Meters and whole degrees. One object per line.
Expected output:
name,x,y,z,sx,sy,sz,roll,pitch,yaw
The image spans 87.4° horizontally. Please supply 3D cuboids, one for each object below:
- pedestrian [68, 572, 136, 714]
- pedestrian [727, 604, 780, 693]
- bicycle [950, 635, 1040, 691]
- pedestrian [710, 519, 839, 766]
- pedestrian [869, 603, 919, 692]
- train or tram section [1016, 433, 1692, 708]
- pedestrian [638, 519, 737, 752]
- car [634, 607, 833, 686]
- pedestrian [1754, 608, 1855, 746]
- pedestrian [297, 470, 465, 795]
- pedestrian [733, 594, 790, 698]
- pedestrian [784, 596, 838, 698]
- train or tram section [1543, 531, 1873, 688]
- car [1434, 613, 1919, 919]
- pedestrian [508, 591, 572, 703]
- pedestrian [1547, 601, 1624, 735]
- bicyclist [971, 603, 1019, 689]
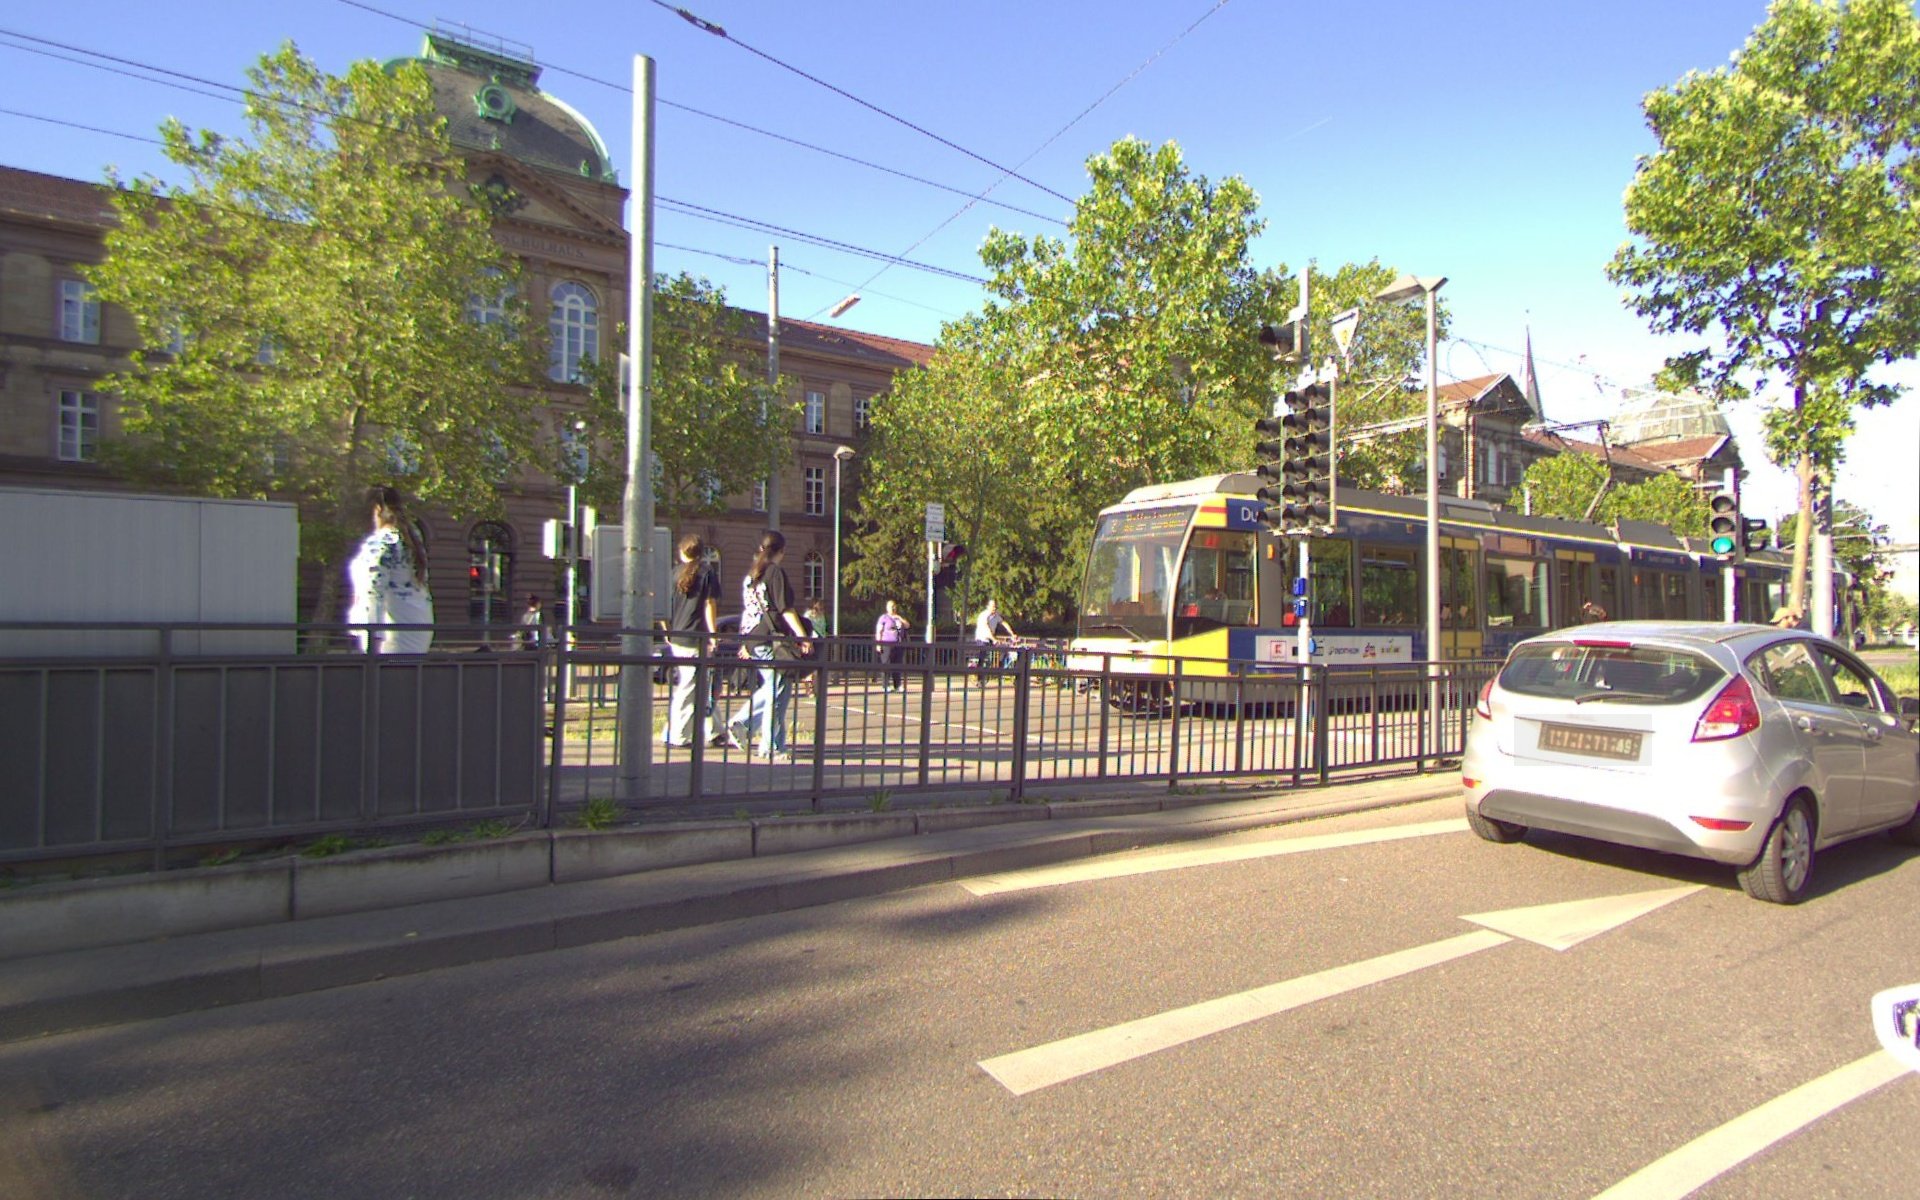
pedestrian,-10.859,0.539,12.728,0.538,1.751,0.522,1,-1,-30
pedestrian,-3.789,0.873,18.406,0.770,1.582,0.705,1,-1,-28
bicycle,0.682,1.223,19.793,0.830,0.999,1.649,2,-1,-44
pedestrian,-1.390,0.311,7.523,0.740,1.724,0.628,1,-2,-38
pedestrian,-1.215,0.874,18.542,0.699,1.603,0.613,1,-1,-38
train or tram section,8.094,-0.061,17.772,15.736,3.303,2.895,3,0,-35
pedestrian,-2.123,0.273,7.824,0.541,1.724,0.604,1,-2,-38
car,-5.390,1.109,24.055,4.187,1.684,1.981,3,0,-34
pedestrian,10.618,0.941,12.665,0.929,1.650,0.626,1,-1,38
pedestrian,-3.181,0.185,5.512,0.635,1.640,0.635,4,-3,-37
pedestrian,-3.284,0.755,16.625,0.704,1.672,0.626,1,-1,-38
pedestrian,-2.543,0.789,17.158,0.699,1.701,0.613,1,-1,-38
train or tram section,19.804,0.435,26.036,12.983,3.303,2.895,3,0,-35
car,4.878,0.852,6.457,3.593,1.428,1.651,2,-1,-33
pedestrian,-6.515,0.722,15.603,0.698,1.686,0.630,0,-1,37
pedestrian,7.687,0.818,12.353,0.641,1.577,0.626,1,-1,-38
bicyclist,0.694,0.895,19.799,0.655,1.648,0.653,2,0,-44
